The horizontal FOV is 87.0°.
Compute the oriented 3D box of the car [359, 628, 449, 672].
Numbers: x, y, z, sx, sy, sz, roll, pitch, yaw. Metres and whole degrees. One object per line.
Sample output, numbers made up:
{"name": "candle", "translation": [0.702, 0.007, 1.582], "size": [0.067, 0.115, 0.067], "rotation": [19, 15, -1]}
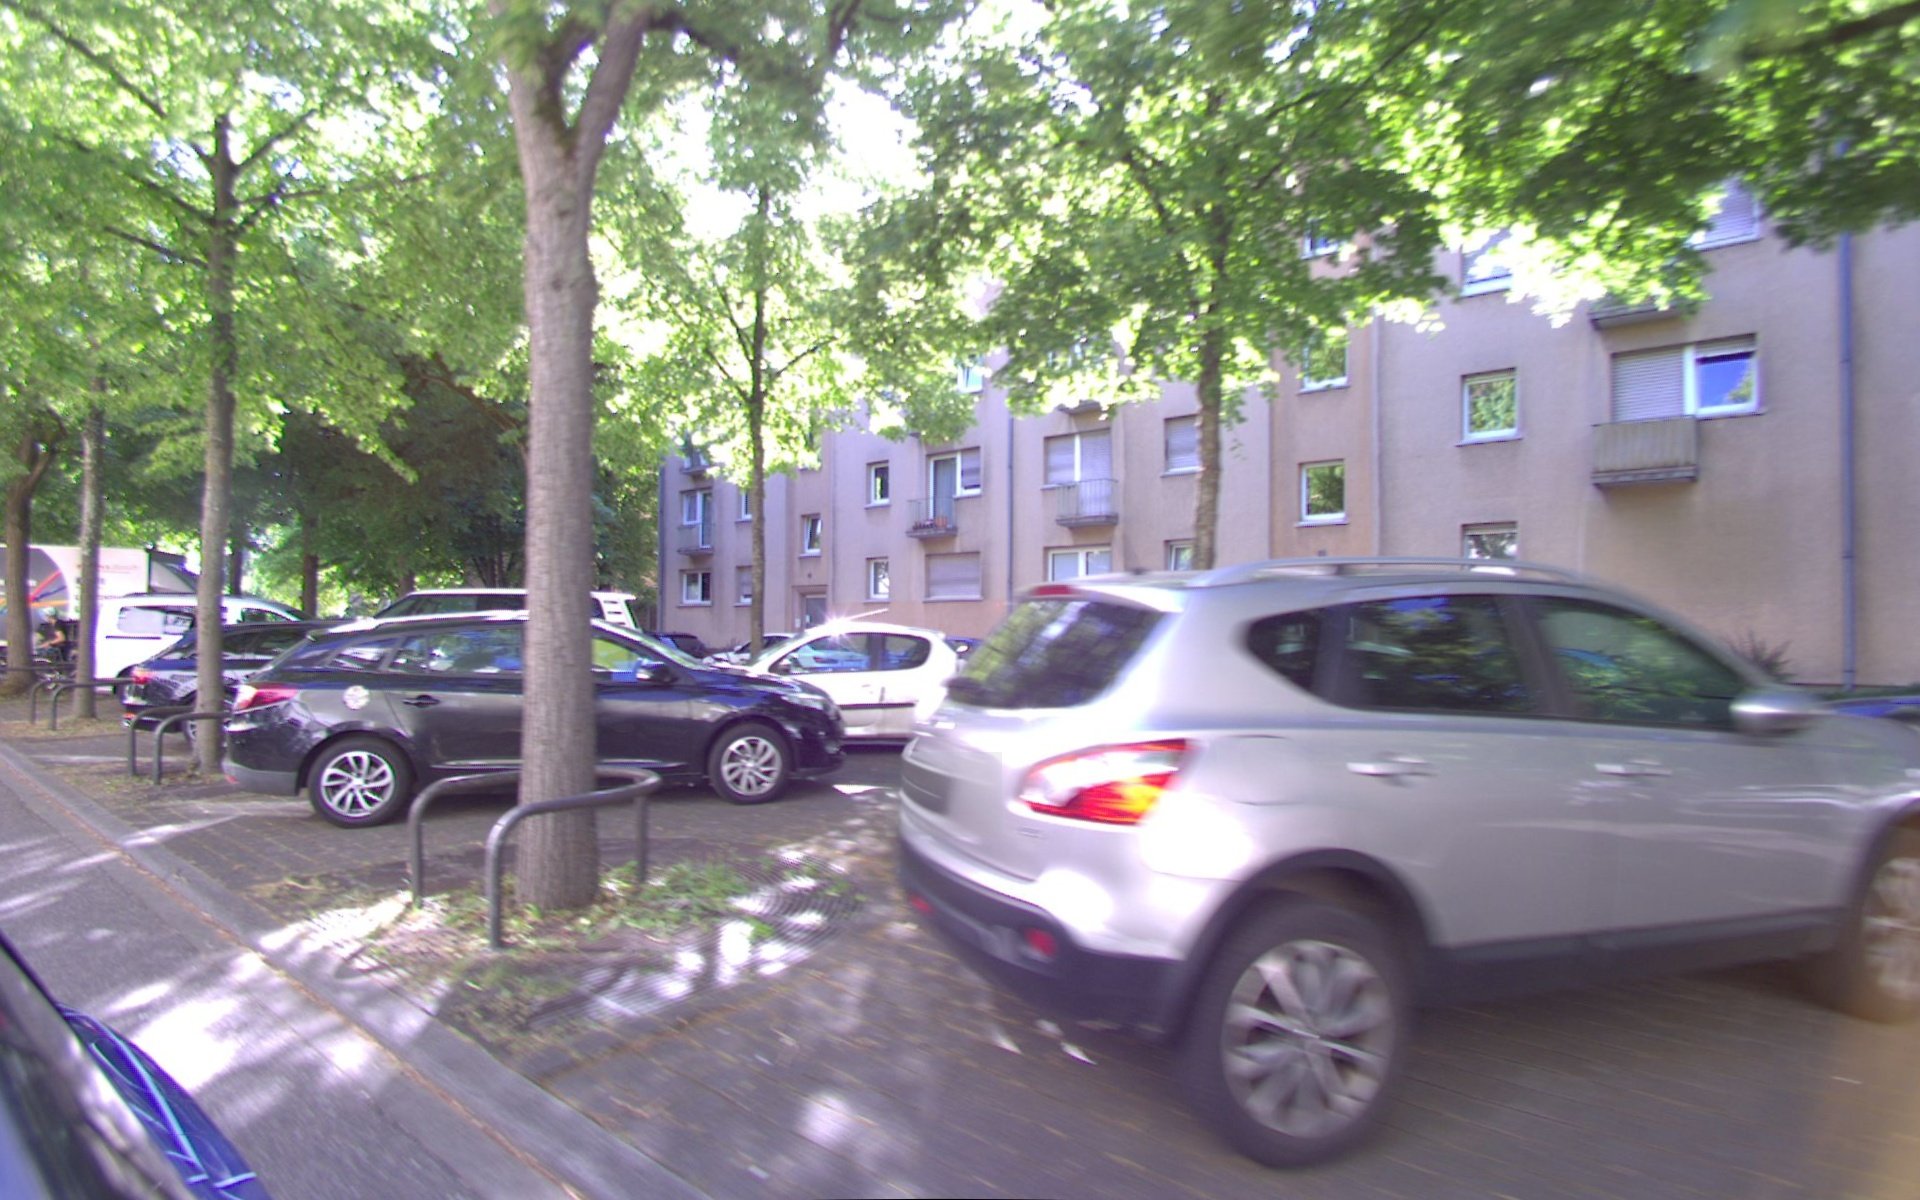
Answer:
{"name": "car", "translation": [-21.103, 1.861, 38.361], "size": [3.948, 1.581, 1.735], "rotation": [-2, -2, 42]}

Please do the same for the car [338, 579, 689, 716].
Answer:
{"name": "car", "translation": [-6.553, 0.713, 15.329], "size": [4.526, 1.846, 2.025], "rotation": [1, -2, -20]}

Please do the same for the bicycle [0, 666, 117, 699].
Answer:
{"name": "bicycle", "translation": [-16.686, 1.527, 18.764], "size": [1.586, 0.563, 0.411], "rotation": [1, -2, -18]}

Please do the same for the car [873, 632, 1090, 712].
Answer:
{"name": "car", "translation": [0.356, 1.353, 19.877], "size": [3.998, 1.398, 1.872], "rotation": [-1, -3, 41]}

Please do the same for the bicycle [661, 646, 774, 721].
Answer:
{"name": "bicycle", "translation": [-3.319, 1.109, 13.750], "size": [1.763, 0.947, 0.432], "rotation": [-1, -1, 35]}

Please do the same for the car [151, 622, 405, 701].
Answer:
{"name": "car", "translation": [-13.046, 1.139, 19.598], "size": [3.737, 1.417, 1.628], "rotation": [0, -1, -15]}

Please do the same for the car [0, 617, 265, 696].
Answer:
{"name": "car", "translation": [-17.068, 1.122, 20.981], "size": [4.038, 1.518, 1.738], "rotation": [0, -1, -18]}

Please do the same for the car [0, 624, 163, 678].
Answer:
{"name": "car", "translation": [-26.439, 1.473, 29.809], "size": [4.270, 1.518, 1.819], "rotation": [0, -2, -15]}

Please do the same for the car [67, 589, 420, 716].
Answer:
{"name": "car", "translation": [-11.593, 0.811, 16.828], "size": [4.445, 1.879, 2.088], "rotation": [0, -1, -24]}

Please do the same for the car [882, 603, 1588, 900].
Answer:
{"name": "car", "translation": [1.654, 0.768, 6.497], "size": [3.973, 1.413, 1.829], "rotation": [-1, -1, -17]}

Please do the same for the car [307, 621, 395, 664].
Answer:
{"name": "car", "translation": [-24.863, 1.721, 41.268], "size": [4.242, 1.652, 1.736], "rotation": [-1, -2, 40]}

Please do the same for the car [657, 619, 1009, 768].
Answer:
{"name": "car", "translation": [-1.428, 0.963, 11.254], "size": [3.573, 1.466, 1.822], "rotation": [0, -2, -12]}

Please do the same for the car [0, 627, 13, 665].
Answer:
{"name": "car", "translation": [-47.042, 2.136, 46.801], "size": [1.868, 1.789, 4.434], "rotation": [-1, -3, 33]}

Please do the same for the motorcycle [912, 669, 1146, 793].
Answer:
{"name": "motorcycle", "translation": [0.564, 1.081, 8.550], "size": [1.893, 0.964, 0.689], "rotation": [0, -2, 3]}

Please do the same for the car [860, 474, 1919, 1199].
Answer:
{"name": "car", "translation": [1.842, 0.617, 3.715], "size": [4.075, 1.692, 1.765], "rotation": [1, -2, -20]}

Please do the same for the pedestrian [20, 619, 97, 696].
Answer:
{"name": "pedestrian", "translation": [-16.961, 1.071, 19.062], "size": [0.740, 1.407, 0.931], "rotation": [1, -2, -18]}

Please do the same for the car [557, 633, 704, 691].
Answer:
{"name": "car", "translation": [-8.887, 1.599, 27.096], "size": [4.531, 1.417, 1.602], "rotation": [-1, -3, 40]}

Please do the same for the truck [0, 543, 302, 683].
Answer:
{"name": "truck", "translation": [-21.323, 0.390, 25.754], "size": [7.200, 3.319, 2.554], "rotation": [1, -2, -18]}

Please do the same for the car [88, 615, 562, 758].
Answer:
{"name": "car", "translation": [-7.135, 0.941, 11.945], "size": [4.413, 1.466, 1.793], "rotation": [1, -2, -17]}

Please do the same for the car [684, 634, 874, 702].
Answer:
{"name": "car", "translation": [-4.234, 1.513, 23.301], "size": [4.612, 1.403, 1.710], "rotation": [-1, -3, 39]}

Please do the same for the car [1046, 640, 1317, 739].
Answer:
{"name": "car", "translation": [3.578, 1.377, 16.766], "size": [3.998, 1.398, 1.872], "rotation": [-1, -2, 41]}

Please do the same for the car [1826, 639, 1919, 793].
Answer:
{"name": "car", "translation": [11.344, 1.152, 9.738], "size": [4.531, 1.519, 1.973], "rotation": [-2, -3, 41]}

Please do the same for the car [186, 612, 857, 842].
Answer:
{"name": "car", "translation": [-3.127, 0.843, 7.947], "size": [4.348, 1.473, 1.721], "rotation": [1, -1, -17]}
